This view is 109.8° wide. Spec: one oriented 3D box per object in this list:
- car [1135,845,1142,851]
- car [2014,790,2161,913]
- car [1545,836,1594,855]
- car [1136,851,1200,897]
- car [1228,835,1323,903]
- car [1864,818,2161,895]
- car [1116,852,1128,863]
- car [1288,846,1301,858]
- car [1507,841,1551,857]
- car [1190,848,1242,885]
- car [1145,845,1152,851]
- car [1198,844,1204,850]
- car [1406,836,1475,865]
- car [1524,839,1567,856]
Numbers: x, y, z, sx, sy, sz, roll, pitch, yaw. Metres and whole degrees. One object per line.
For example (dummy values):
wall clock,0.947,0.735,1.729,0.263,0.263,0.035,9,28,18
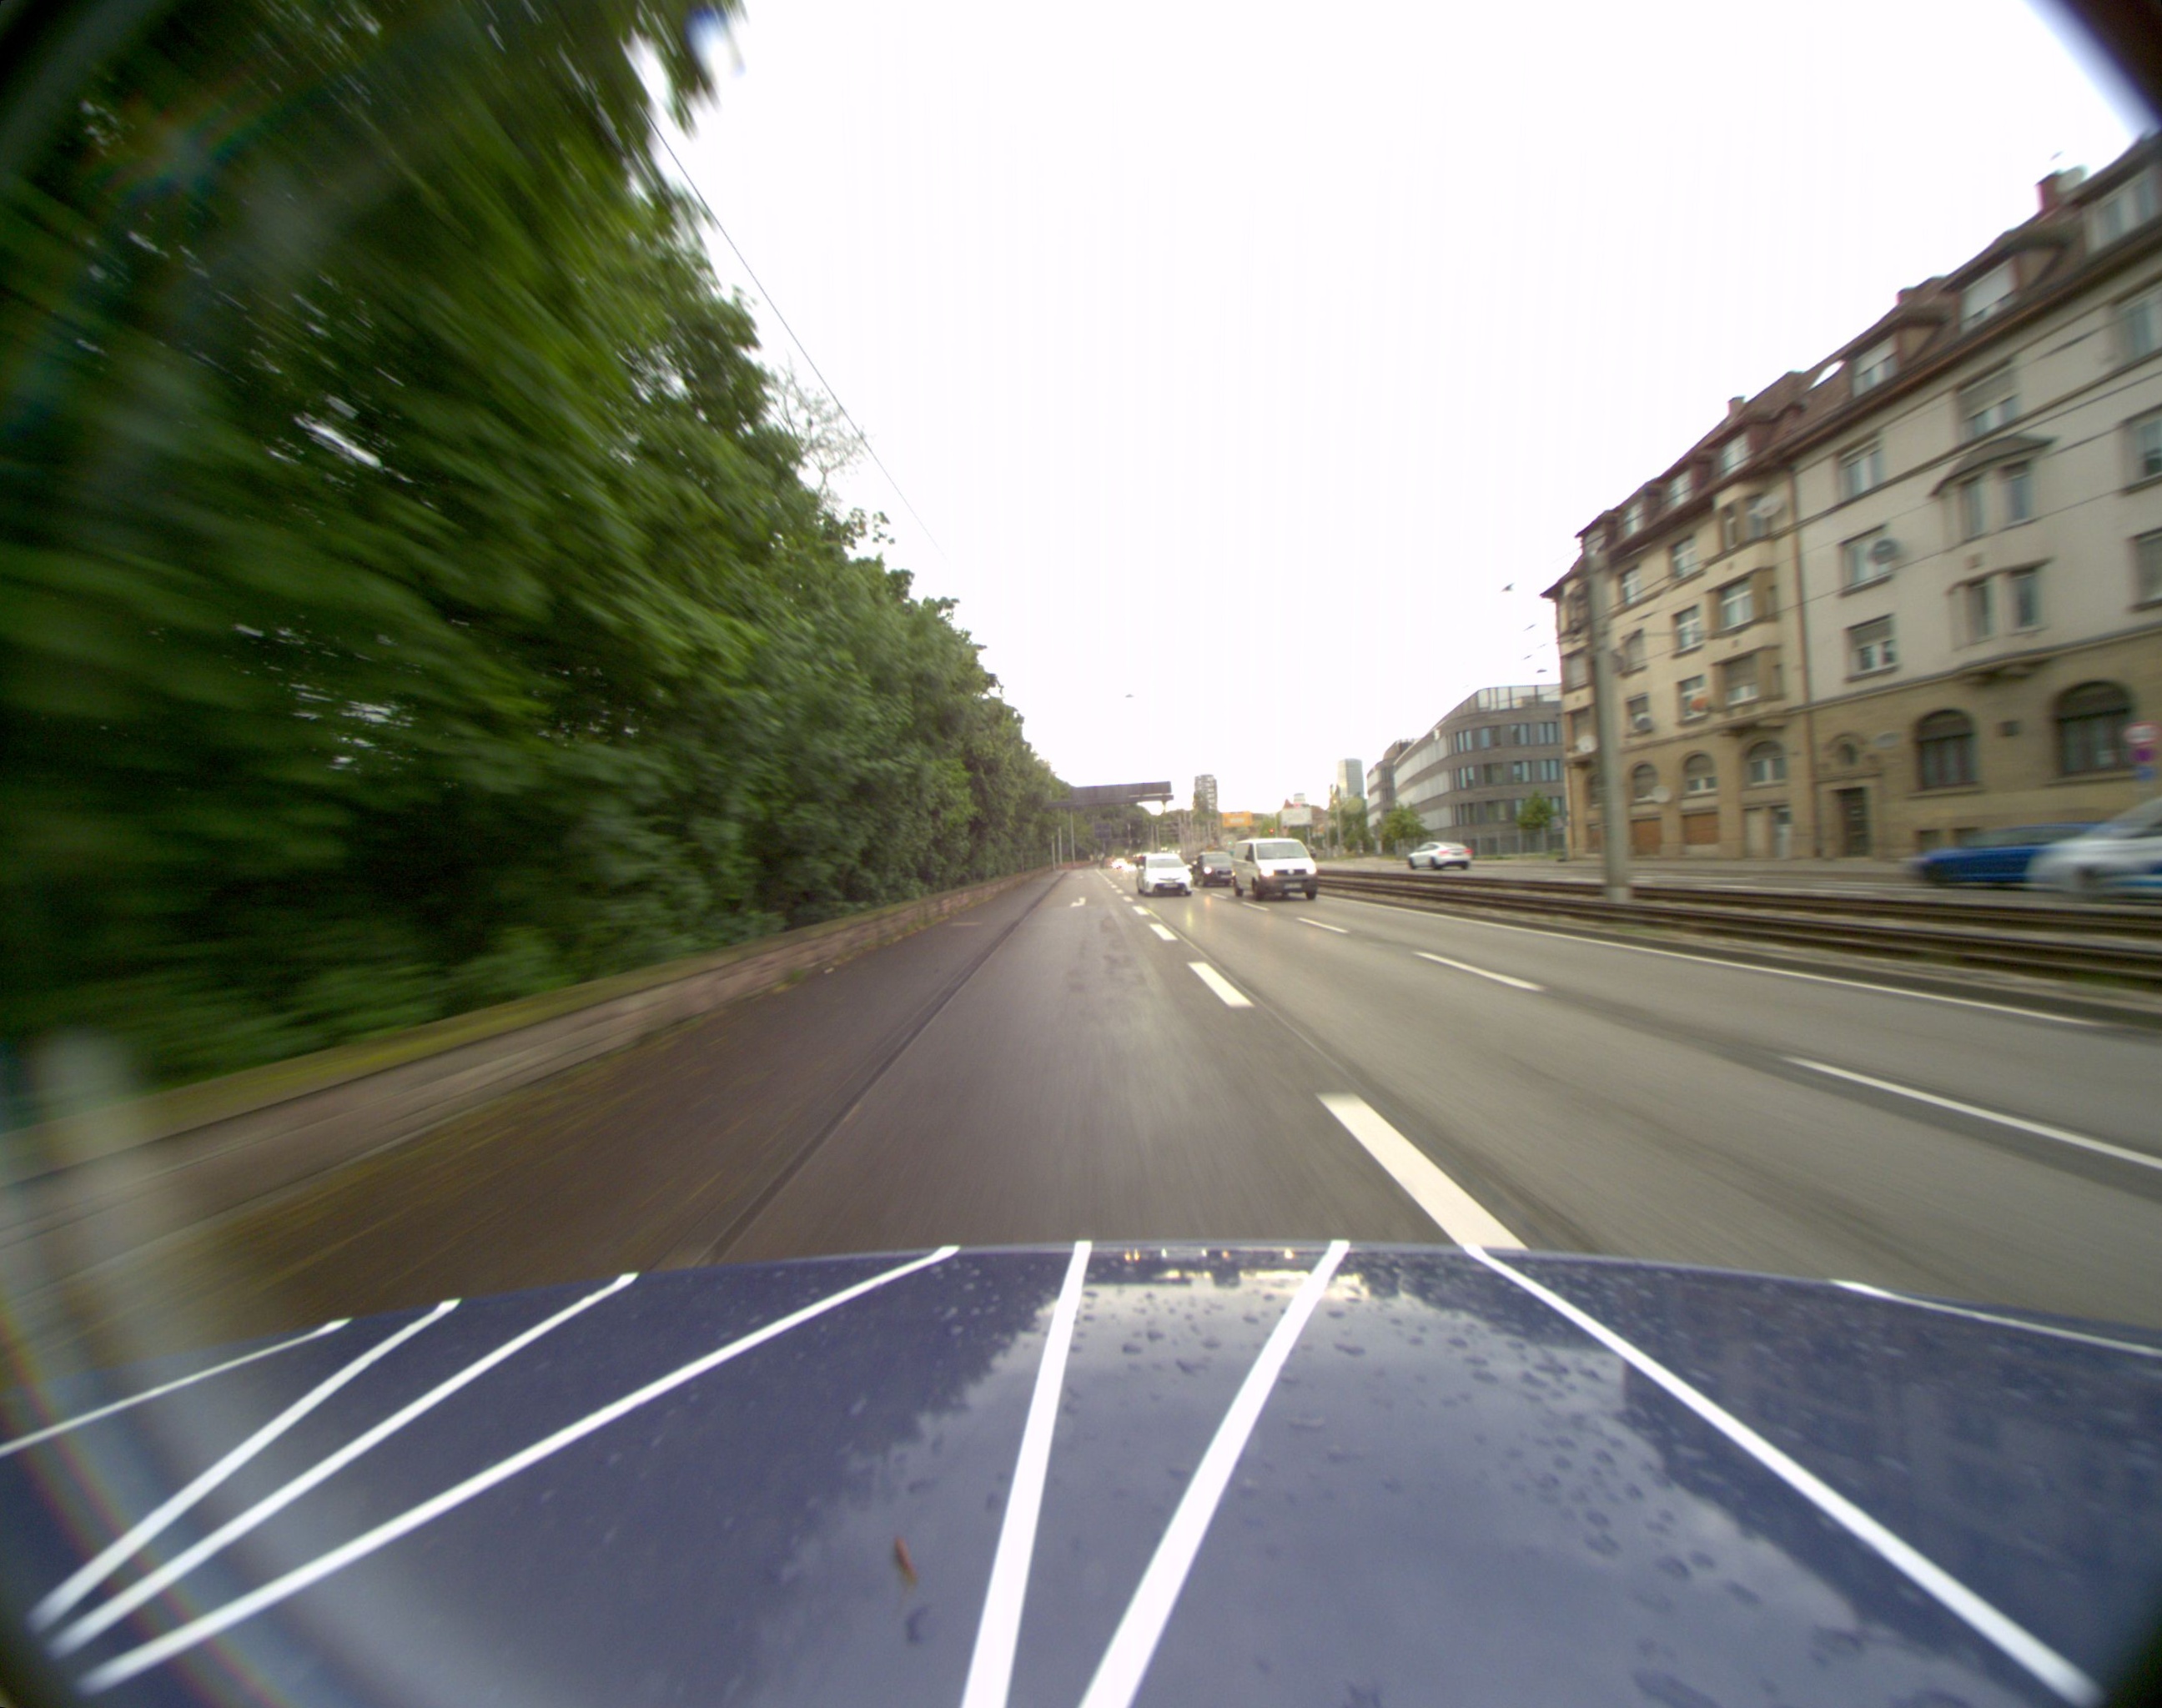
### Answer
car,19.728,-2.015,260.899,1.998,2.002,3.999,-2,1,0
car,17.325,-0.073,10.675,1.999,1.863,5.192,-3,0,0
car,42.191,-0.772,65.740,1.745,1.535,3.788,-2,1,0
car,3.306,0.712,29.567,1.982,1.564,4.318,-2,0,0
car,6.280,0.435,25.090,1.914,1.947,4.718,-2,0,1
car,20.477,0.028,16.931,1.610,1.425,4.331,-3,0,0
car,6.830,0.567,125.994,1.710,1.585,4.000,-3,0,1
car,33.327,-0.291,118.512,1.834,1.787,4.220,-1,0,17
car,38.045,-0.434,64.654,1.622,1.327,3.568,-2,1,0
car,6.264,0.557,35.526,1.708,1.564,3.896,-2,0,0
car,22.949,-2.066,256.964,1.998,2.002,3.999,-2,1,0
car,38.587,-2.213,244.449,1.997,1.936,4.002,-2,1,9
car,20.636,-0.198,43.860,1.725,1.583,4.742,-1,0,-1
car,40.220,-0.606,65.862,1.545,1.374,3.568,-2,1,0
